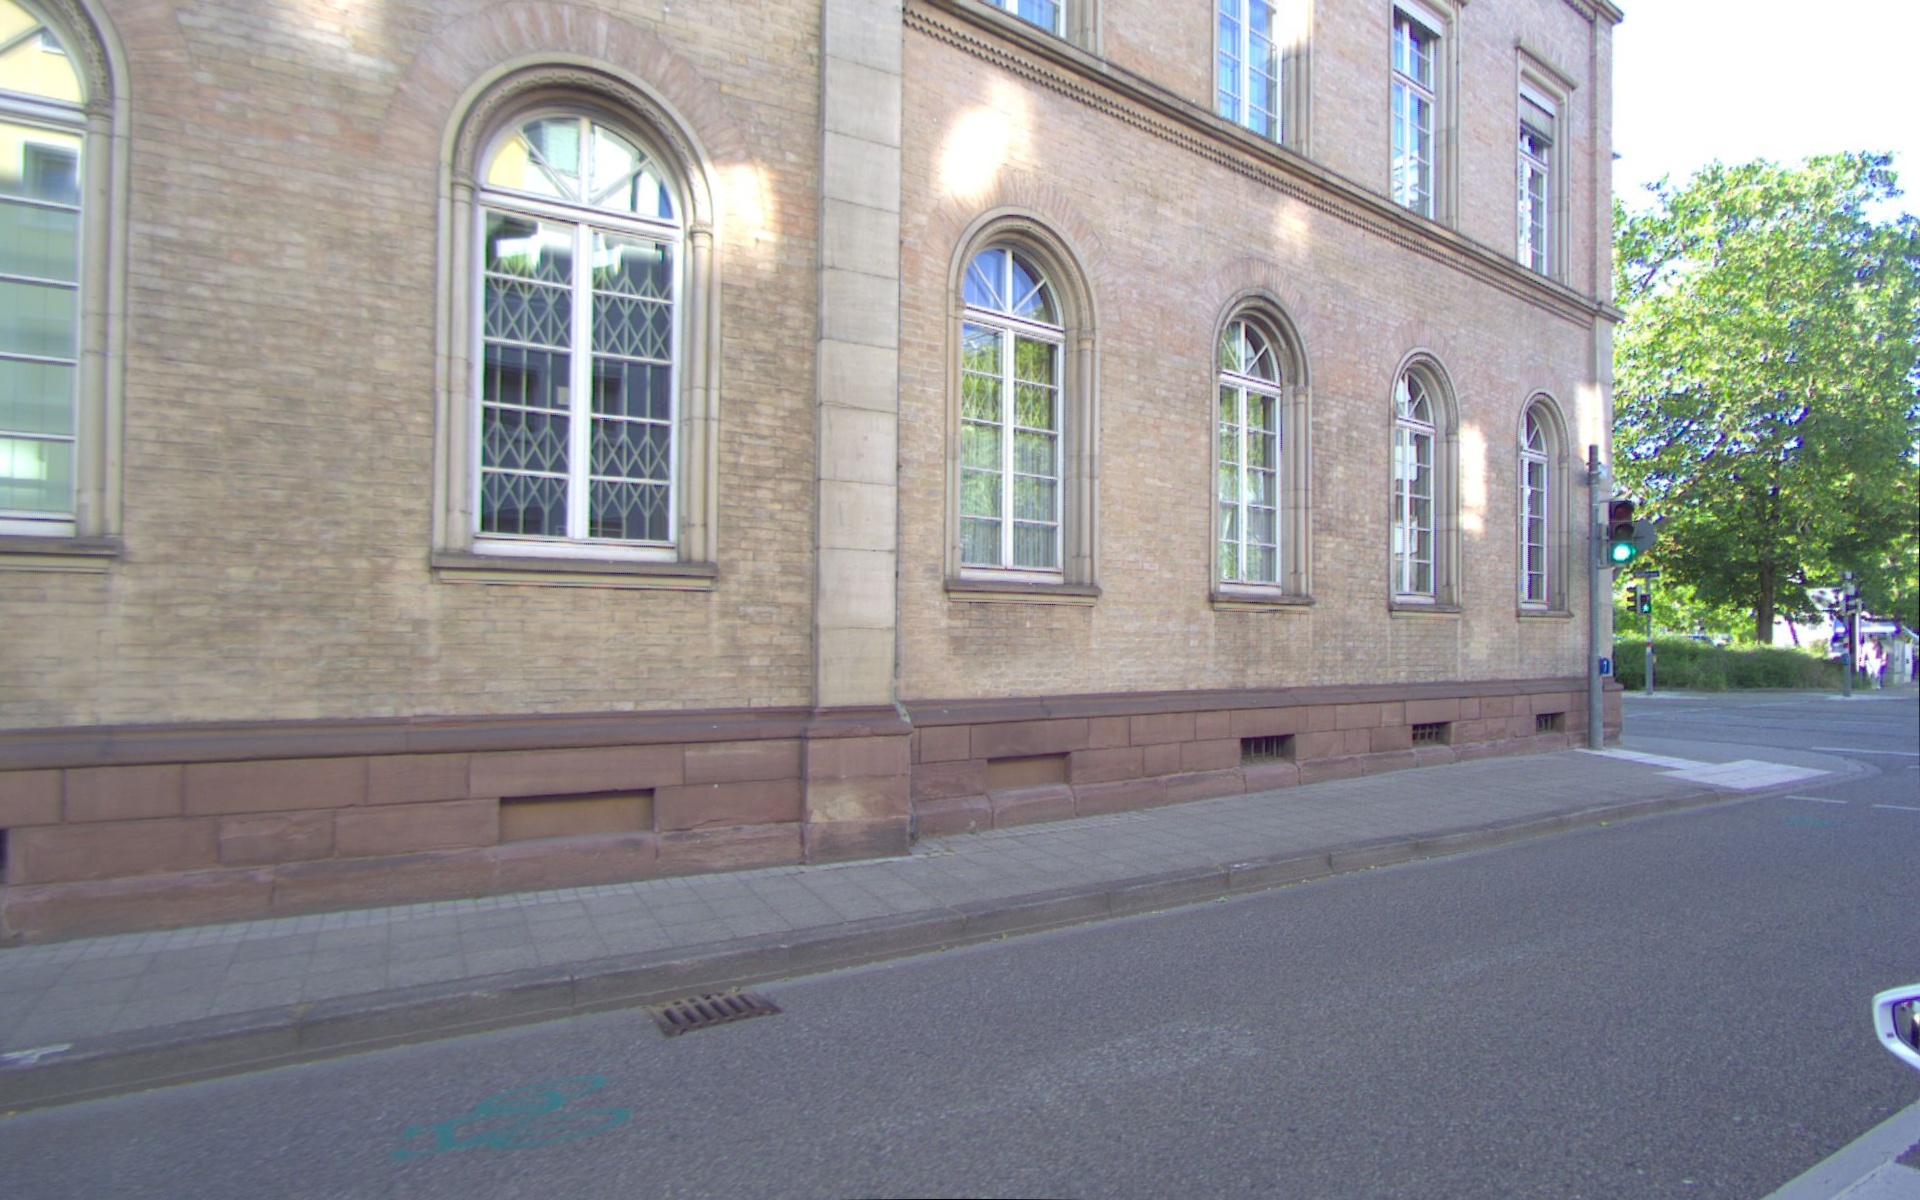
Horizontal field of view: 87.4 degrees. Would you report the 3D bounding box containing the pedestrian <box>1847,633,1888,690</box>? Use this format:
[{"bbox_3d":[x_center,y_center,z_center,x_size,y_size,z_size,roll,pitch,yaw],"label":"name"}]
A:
[{"bbox_3d":[28.354,1.929,31.393,0.945,1.745,0.699,2,-3,-33],"label":"pedestrian"}]

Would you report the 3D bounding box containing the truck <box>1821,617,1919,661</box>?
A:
[{"bbox_3d":[53.161,2.226,58.103,2.069,2.431,4.791,1,-1,-38],"label":"truck"}]
